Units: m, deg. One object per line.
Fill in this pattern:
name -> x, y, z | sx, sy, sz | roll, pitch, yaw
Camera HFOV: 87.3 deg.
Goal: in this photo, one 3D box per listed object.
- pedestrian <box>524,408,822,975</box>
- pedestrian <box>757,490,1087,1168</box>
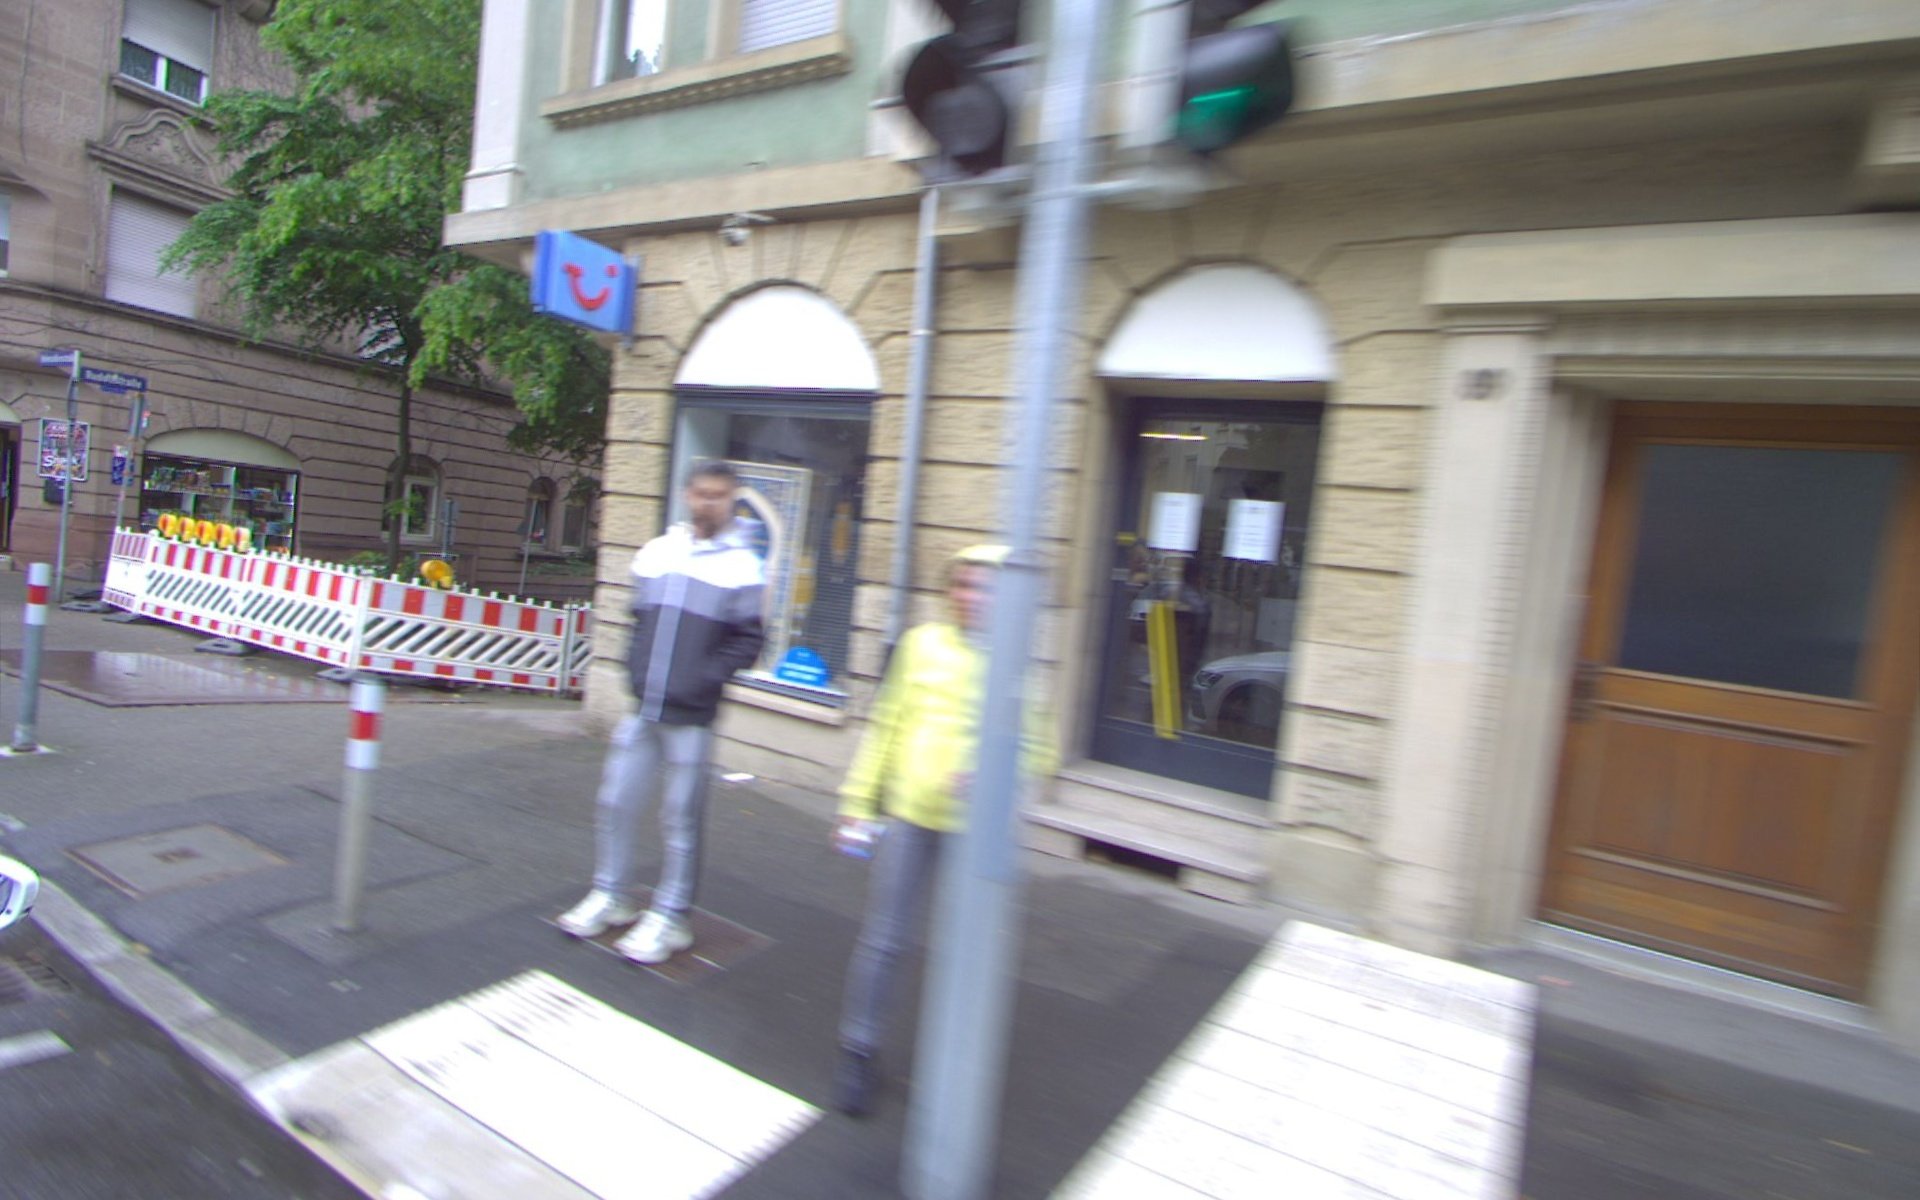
pedestrian -> -1.001, 0.291, 3.618 | 0.706, 1.799, 0.664 | 6, 4, 8
pedestrian -> -0.080, 0.549, 2.802 | 0.587, 1.607, 0.664 | 7, 4, 19
